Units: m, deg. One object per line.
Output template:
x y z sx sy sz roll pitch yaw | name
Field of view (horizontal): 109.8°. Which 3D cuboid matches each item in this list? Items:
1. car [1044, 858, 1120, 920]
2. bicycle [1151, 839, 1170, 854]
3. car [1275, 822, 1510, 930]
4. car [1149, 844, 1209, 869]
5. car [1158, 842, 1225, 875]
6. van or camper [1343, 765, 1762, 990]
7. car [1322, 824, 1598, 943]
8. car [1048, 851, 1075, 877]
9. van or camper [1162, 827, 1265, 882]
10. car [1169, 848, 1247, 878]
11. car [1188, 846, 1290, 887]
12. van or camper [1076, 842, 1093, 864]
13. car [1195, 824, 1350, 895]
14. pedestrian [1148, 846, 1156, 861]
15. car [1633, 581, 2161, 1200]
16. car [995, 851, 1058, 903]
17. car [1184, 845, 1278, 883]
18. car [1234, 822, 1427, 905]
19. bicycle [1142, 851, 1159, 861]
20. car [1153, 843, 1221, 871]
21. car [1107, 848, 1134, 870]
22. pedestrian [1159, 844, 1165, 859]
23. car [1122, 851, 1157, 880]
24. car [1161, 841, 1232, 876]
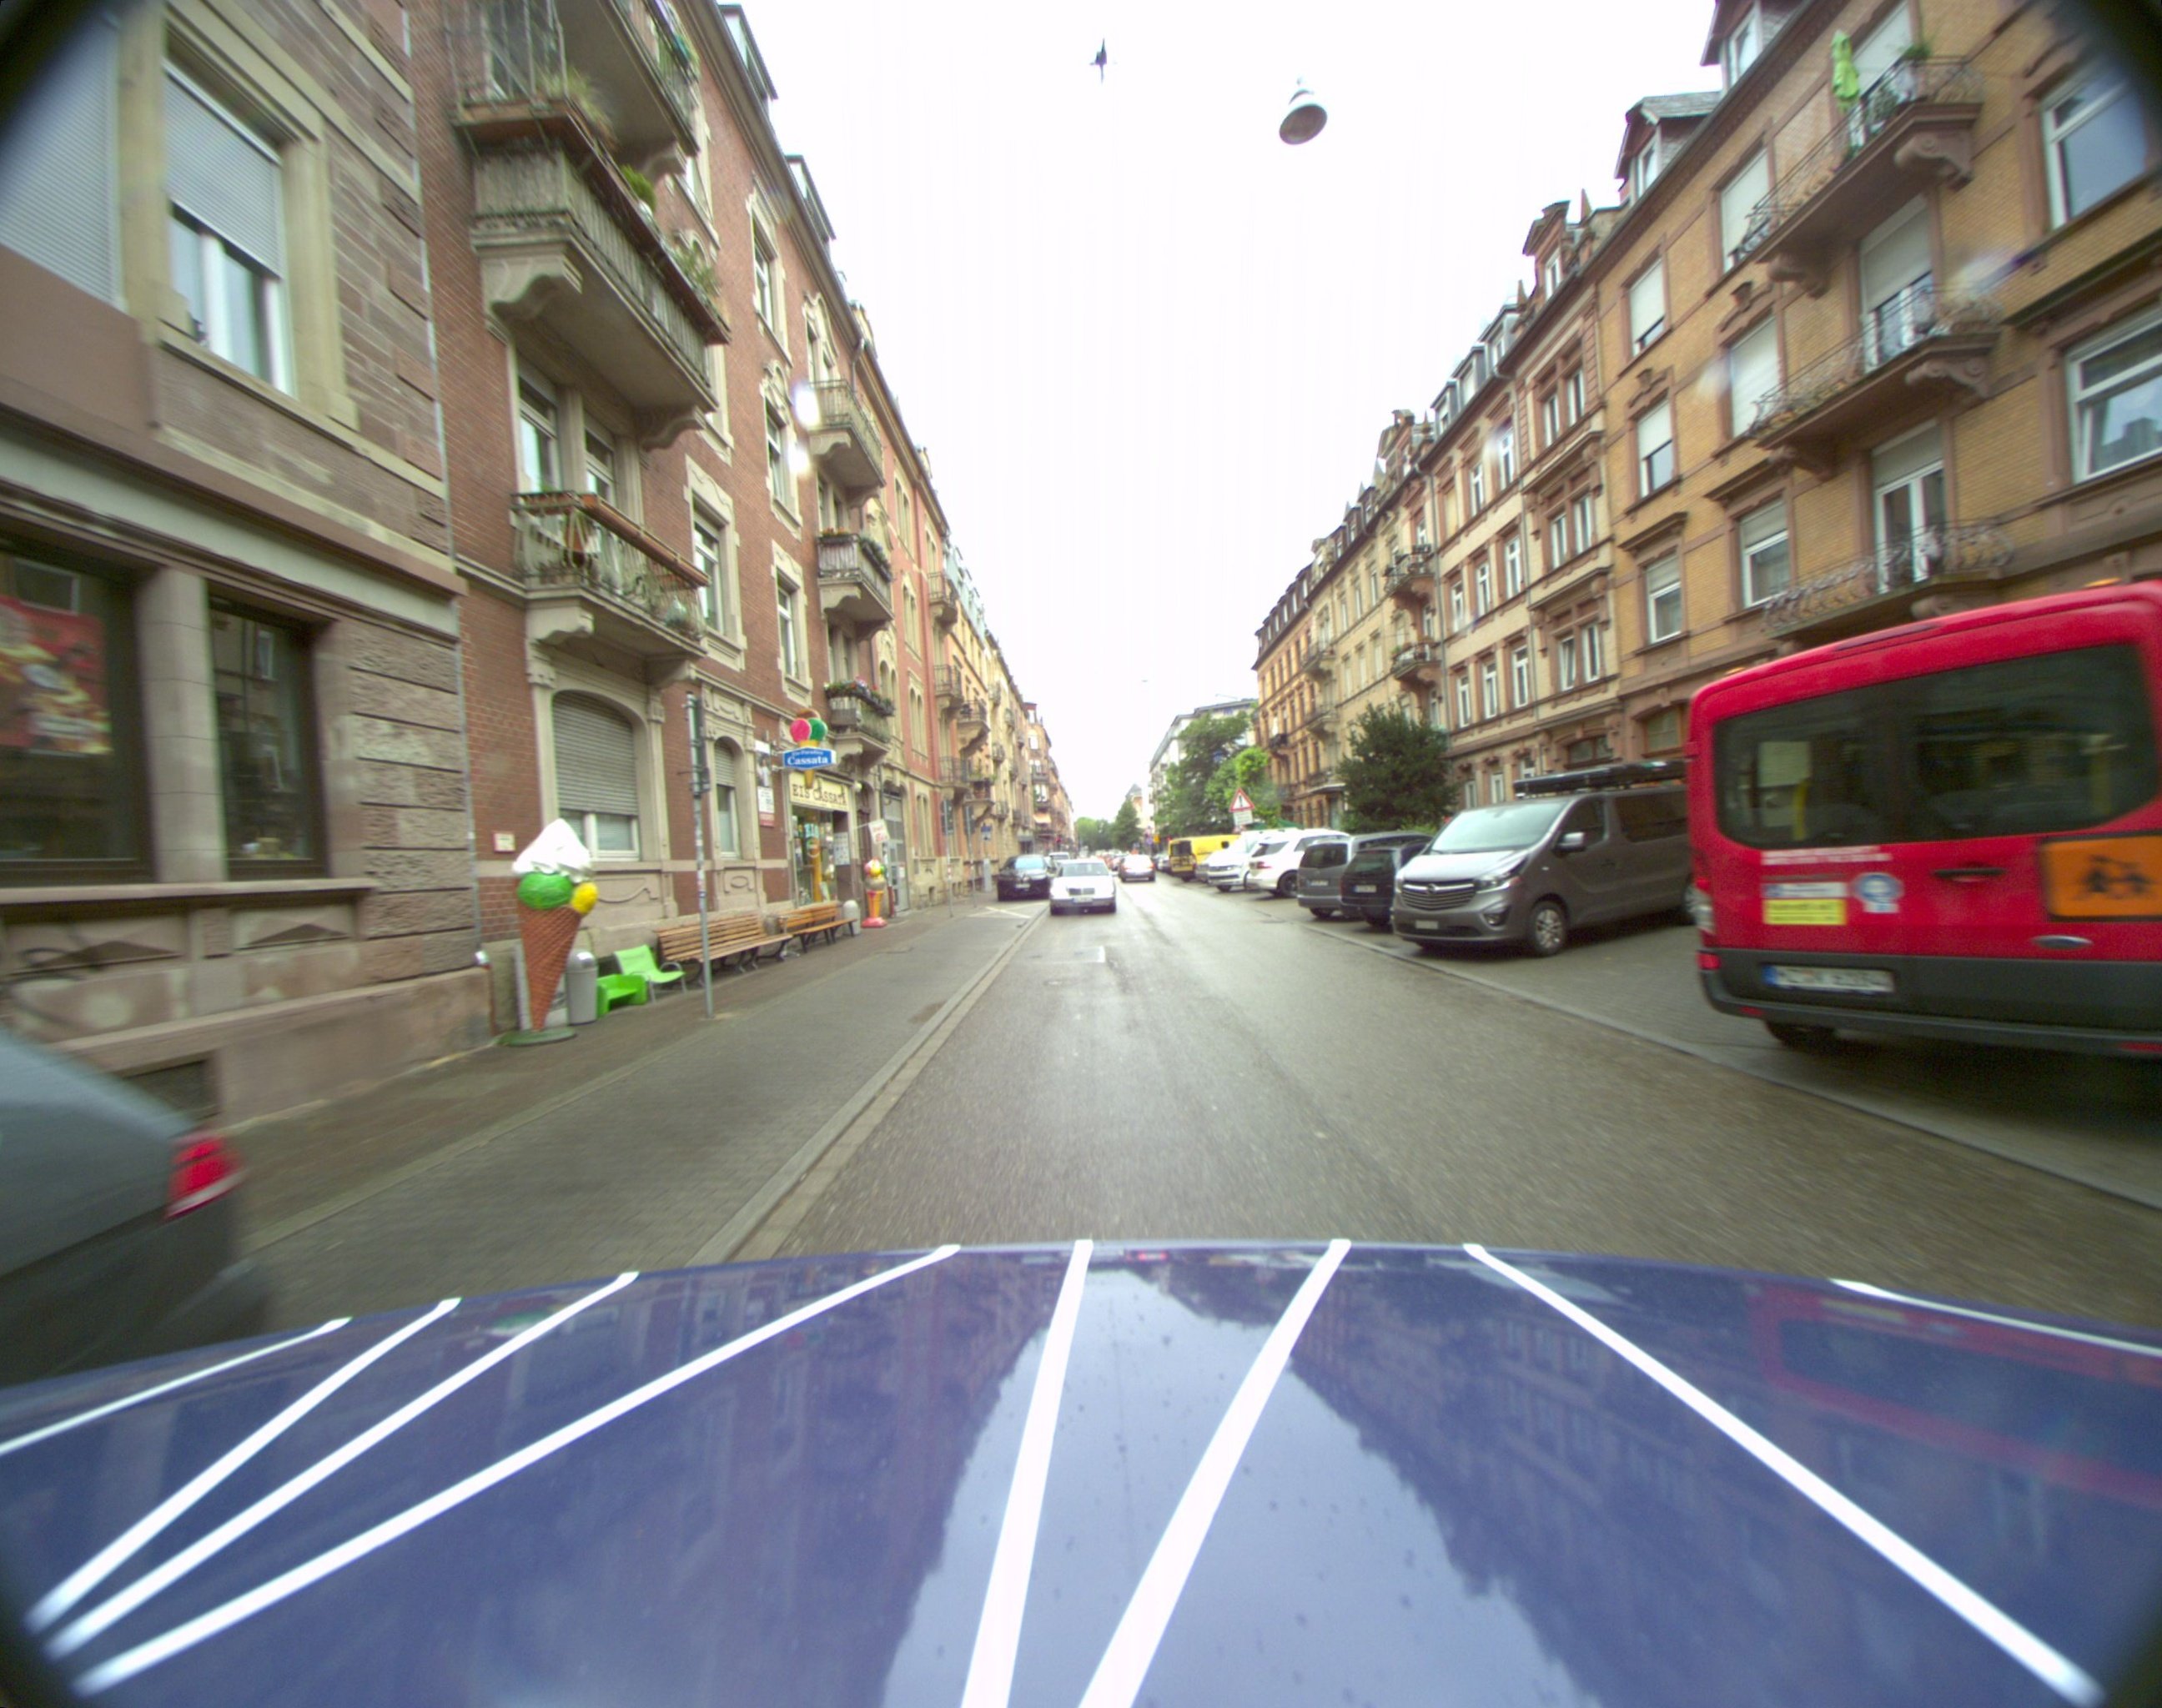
0.154 0.905 21.773 1.859 1.390 4.980 -4 0 3 | car
6.530 -0.609 62.385 0.588 1.137 1.679 -5 1 -27 | bicycle
6.466 0.410 15.737 4.449 1.621 1.841 -7 1 -25 | car
7.906 0.165 61.086 4.464 1.555 1.995 -6 3 -35 | car
7.401 0.295 50.622 4.143 1.652 1.797 -7 2 -35 | car
6.402 0.170 10.310 5.031 2.335 2.340 -4 0 -25 | van or camper
6.624 0.455 13.283 4.360 1.496 1.752 -6 0 -21 | car
-1.534 0.749 59.989 1.999 1.927 5.229 -2 1 -2 | car
6.783 0.028 38.727 4.732 2.254 2.180 -6 0 -31 | van or camper
7.025 0.484 41.957 4.006 1.486 1.823 -2 0 -31 | car
6.825 0.513 32.783 4.005 1.427 1.781 -4 1 -27 | car
0.594 -0.159 121.952 2.411 3.308 7.073 -4 0 0 | van or camper
6.918 0.163 27.378 5.258 2.066 1.867 -5 1 -23 | car
8.877 -0.110 94.893 0.862 1.837 0.770 -4 0 9 | pedestrian
6.552 0.012 5.027 5.579 2.526 2.225 -4 0 -26 | car
-2.000 0.809 29.489 1.998 1.769 4.826 -3 0 0 | car
7.070 0.451 35.679 3.924 1.486 1.959 -4 1 -30 | car
7.049 0.244 21.952 4.590 1.775 2.545 -6 0 0 | car
8.684 0.301 94.816 1.895 1.028 0.661 -6 0 -13 | bicycle
7.859 0.221 56.266 4.731 1.554 1.996 -6 0 -33 | car
3.126 0.377 60.980 1.863 1.650 5.008 -3 0 1 | car
9.950 -0.297 93.567 0.604 1.837 0.770 -4 0 10 | pedestrian
3.286 0.628 43.397 1.799 1.485 4.584 -3 -1 3 | car
7.222 0.270 47.462 4.143 1.653 1.797 -7 3 -35 | car
